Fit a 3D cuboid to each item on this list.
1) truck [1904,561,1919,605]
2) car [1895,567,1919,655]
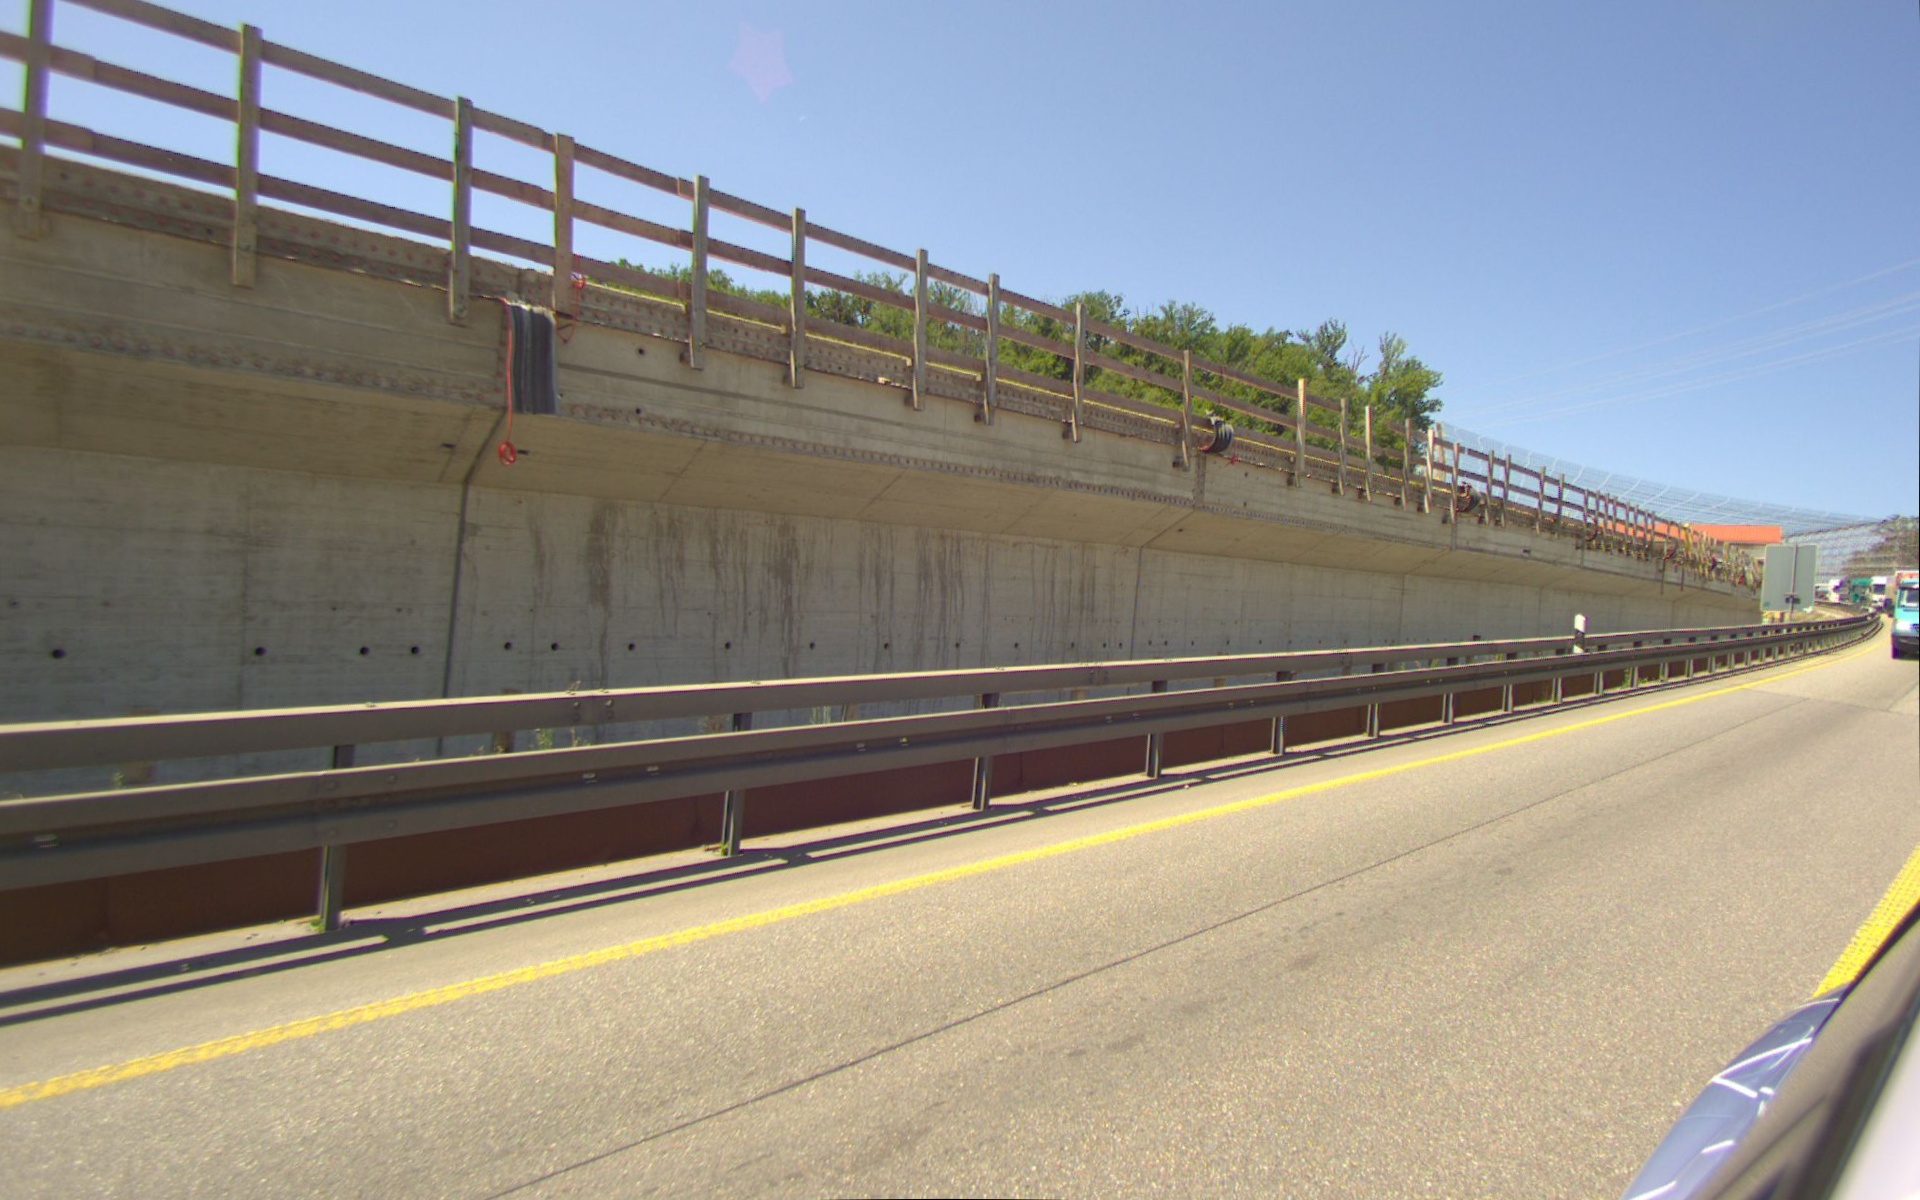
[{"bbox_3d":[80.857,-1.391,84.516,2.461,3.528,9.724,0,0,40],"label":"truck"},{"bbox_3d":[28.438,0.273,28.936,6.790,2.355,2.213,-1,1,-45],"label":"car"}]
